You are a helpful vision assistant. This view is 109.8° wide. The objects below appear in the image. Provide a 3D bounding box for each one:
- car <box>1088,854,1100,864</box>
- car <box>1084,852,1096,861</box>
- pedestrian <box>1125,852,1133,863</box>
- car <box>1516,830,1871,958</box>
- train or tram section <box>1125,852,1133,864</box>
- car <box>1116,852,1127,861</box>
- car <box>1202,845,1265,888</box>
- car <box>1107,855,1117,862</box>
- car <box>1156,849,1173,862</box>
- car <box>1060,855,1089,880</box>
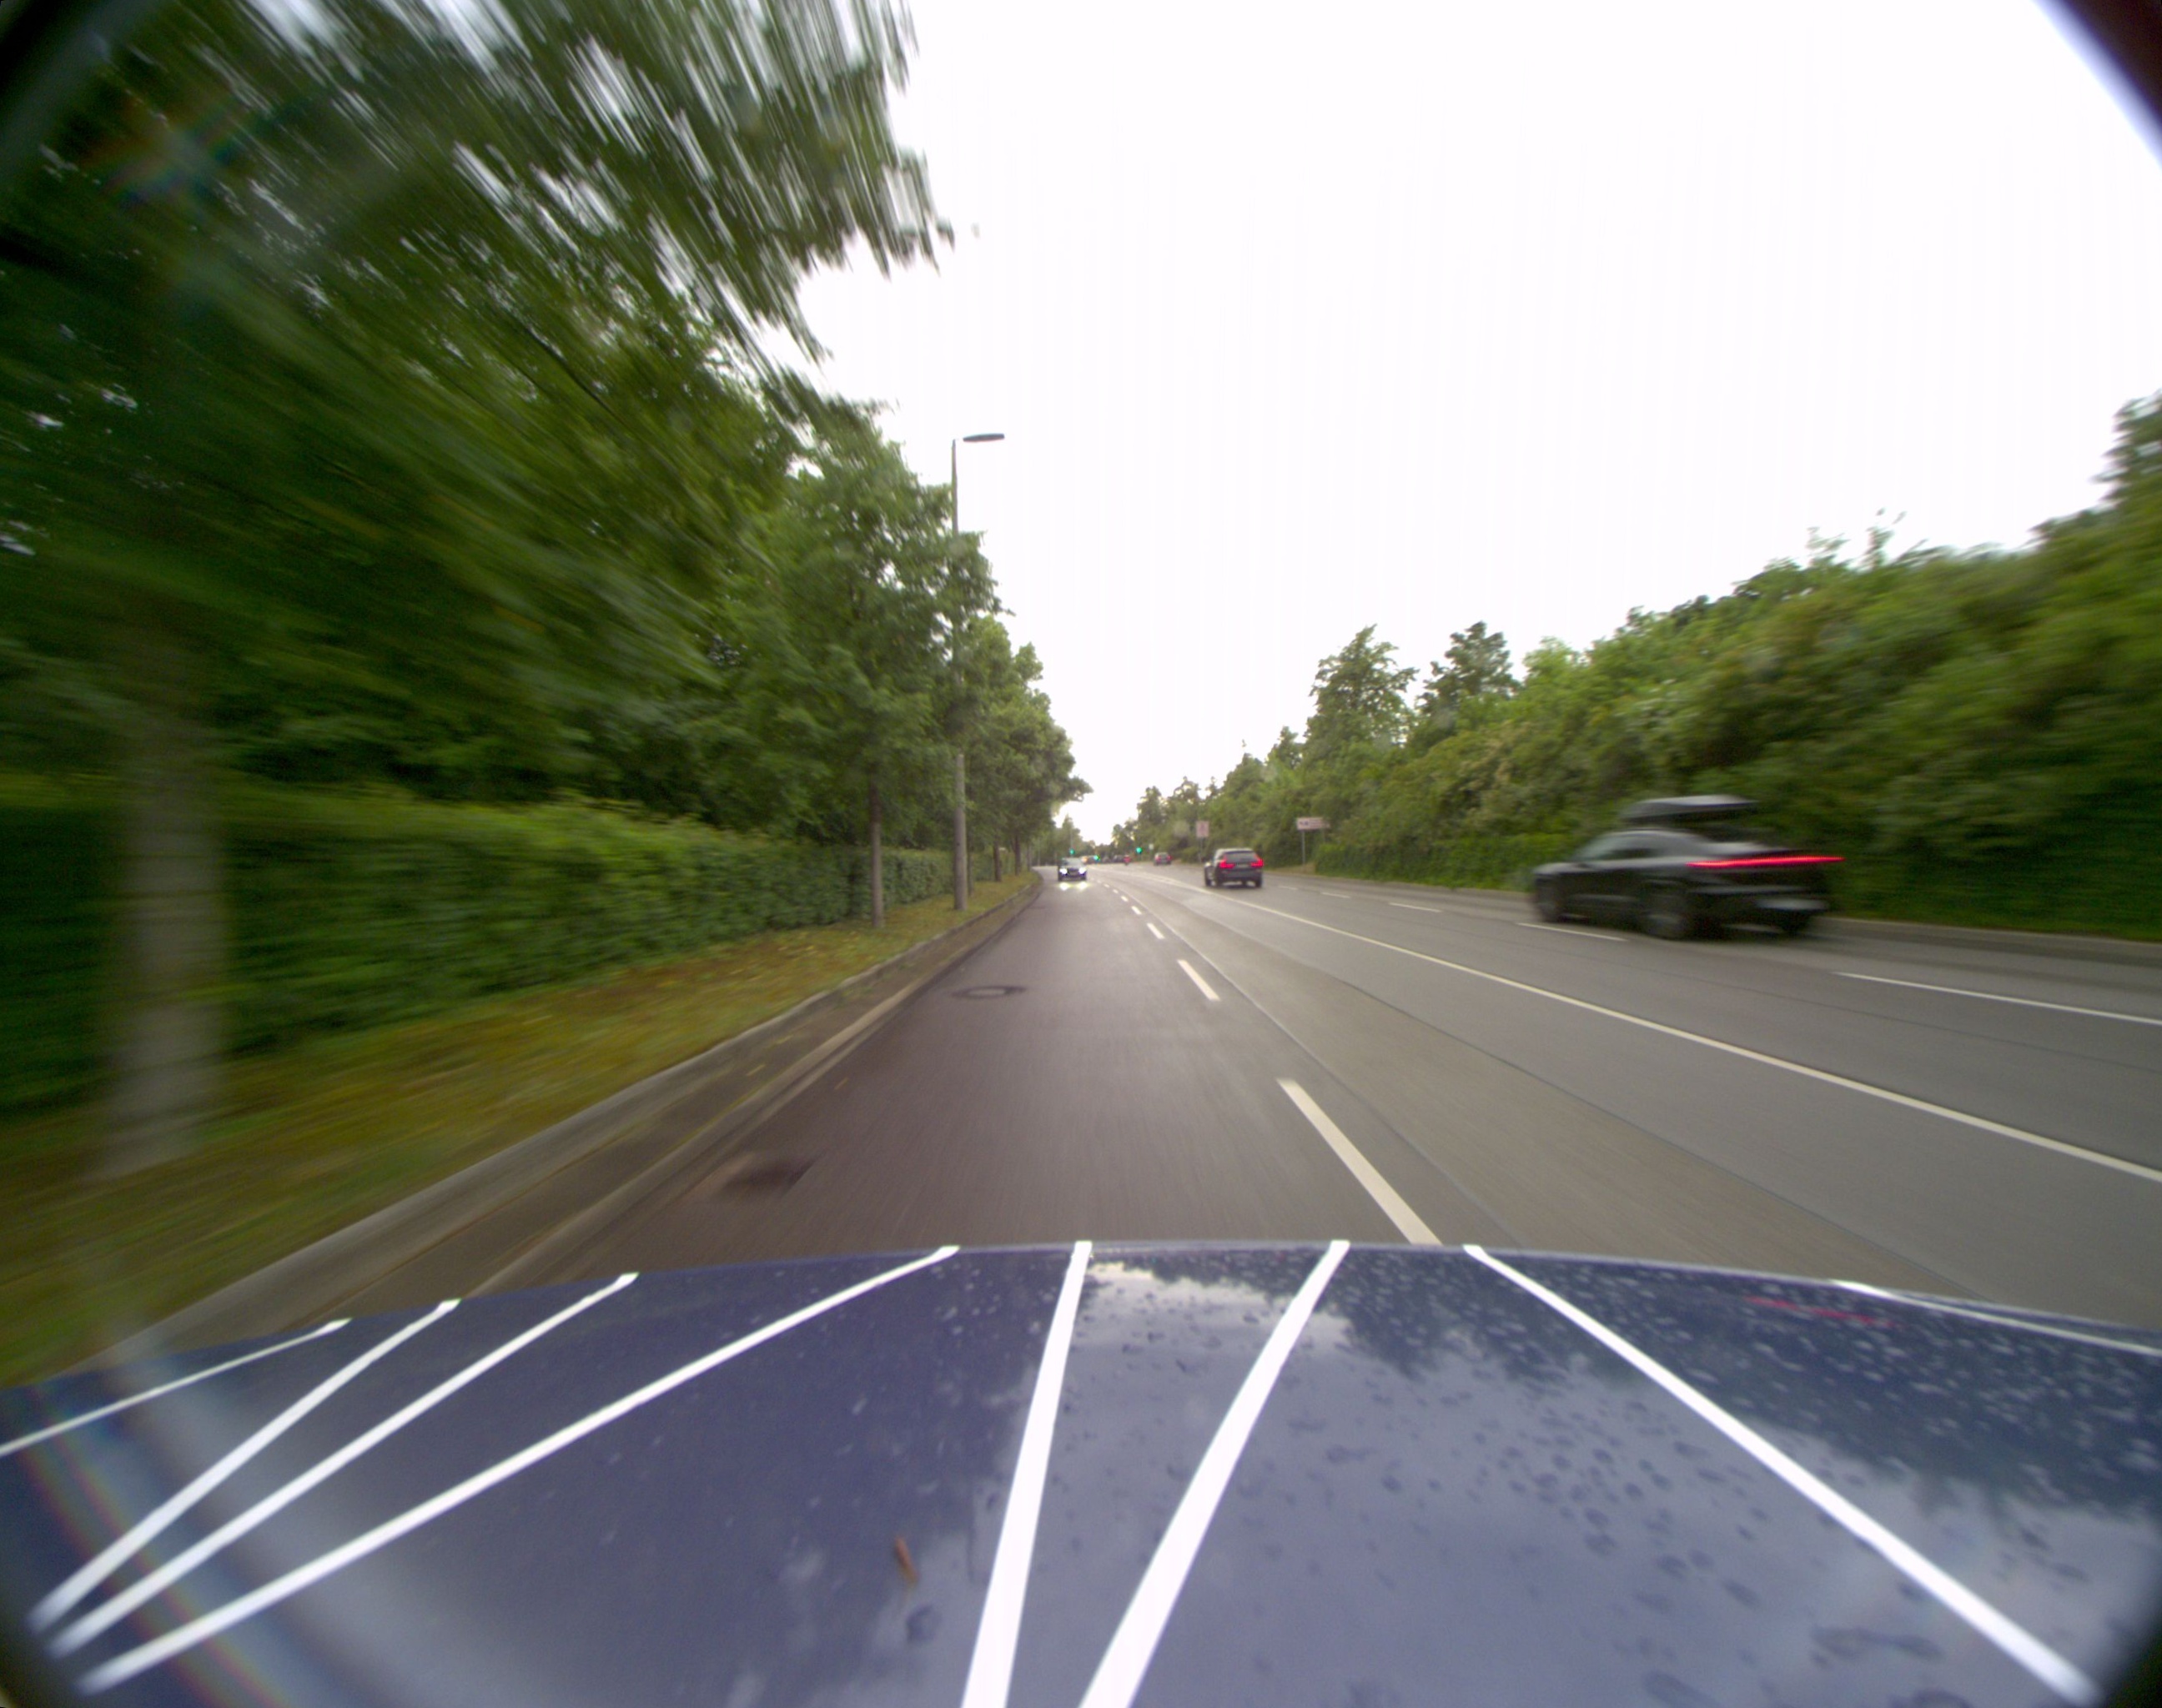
[{"bbox_3d":[2.191,0.847,129.261,1.782,1.459,3.996,-2,0,-2],"label":"car"},{"bbox_3d":[1.723,0.422,146.616,1.891,1.646,4.449,-2,0,-2],"label":"car"},{"bbox_3d":[6.179,0.485,97.764,0.793,1.376,0.974,-3,1,0],"label":"pedestrian"},{"bbox_3d":[9.152,0.504,12.021,1.903,1.544,4.630,-3,0,1],"label":"car"},{"bbox_3d":[6.181,0.485,97.769,0.793,1.561,2.383,-3,1,0],"label":"train or tram section"},{"bbox_3d":[7.768,0.415,146.007,1.805,1.597,4.427,-3,0,-1],"label":"car"},{"bbox_3d":[6.588,0.502,33.234,1.817,1.648,4.595,-2,0,1],"label":"car"},{"bbox_3d":[6.732,0.978,165.031,1.679,1.459,3.861,-3,0,-2],"label":"car"},{"bbox_3d":[9.601,0.150,87.419,1.552,1.429,3.695,-2,1,0],"label":"car"},{"bbox_3d":[-0.477,0.869,50.609,1.738,1.577,4.285,-2,0,-2],"label":"car"}]
